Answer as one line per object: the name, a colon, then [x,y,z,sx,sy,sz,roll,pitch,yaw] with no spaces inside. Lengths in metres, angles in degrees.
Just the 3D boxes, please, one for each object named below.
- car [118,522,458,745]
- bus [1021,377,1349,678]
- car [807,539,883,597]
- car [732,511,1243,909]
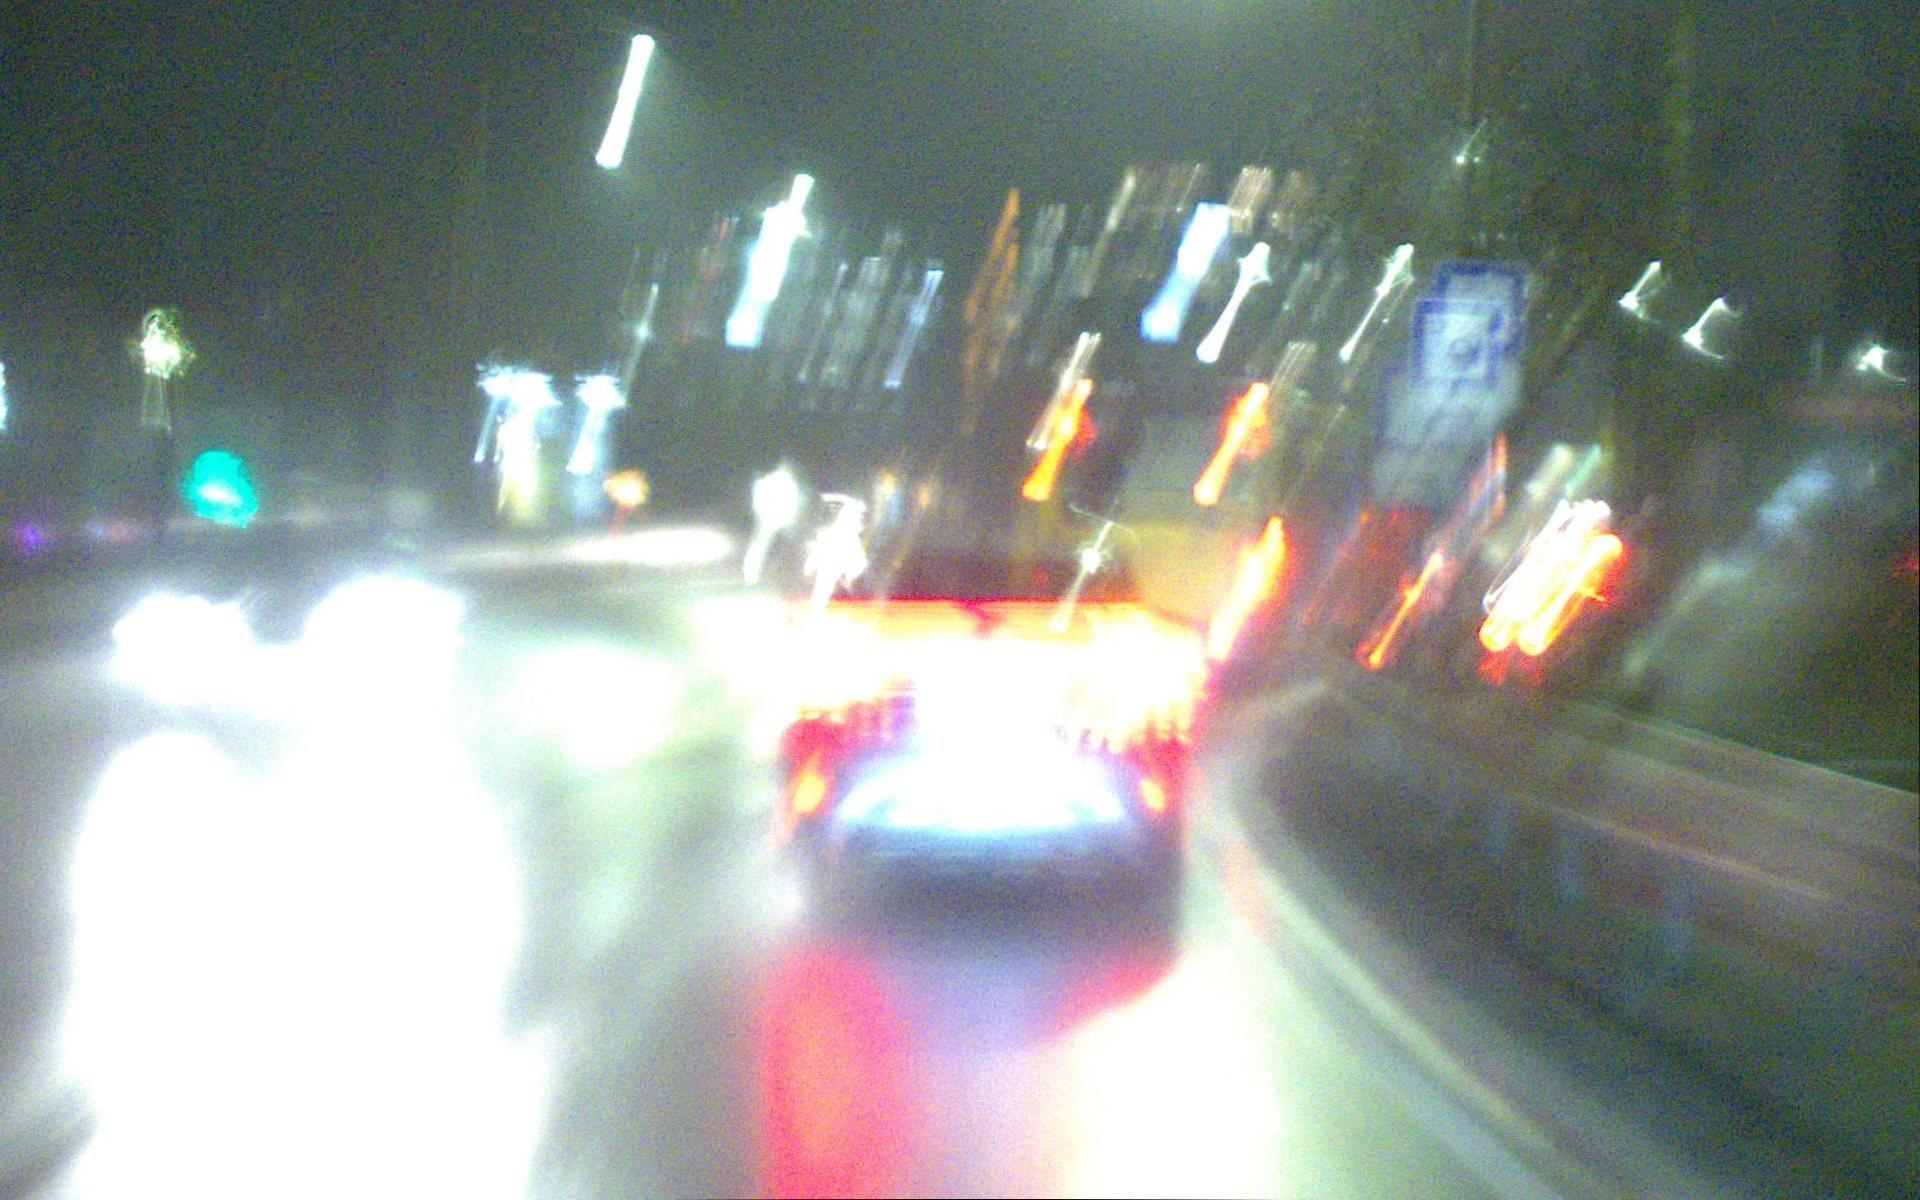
car: [-4.759,0.180,24.860,1.823,1.398,4.037,2,2,-3]
bus: [2.904,-0.874,41.315,3.044,3.201,9.047,0,1,9]
car: [-3.135,-0.894,94.492,1.826,1.498,4.188,2,1,1]
car: [0.144,0.381,15.527,1.993,1.519,4.000,1,2,1]
